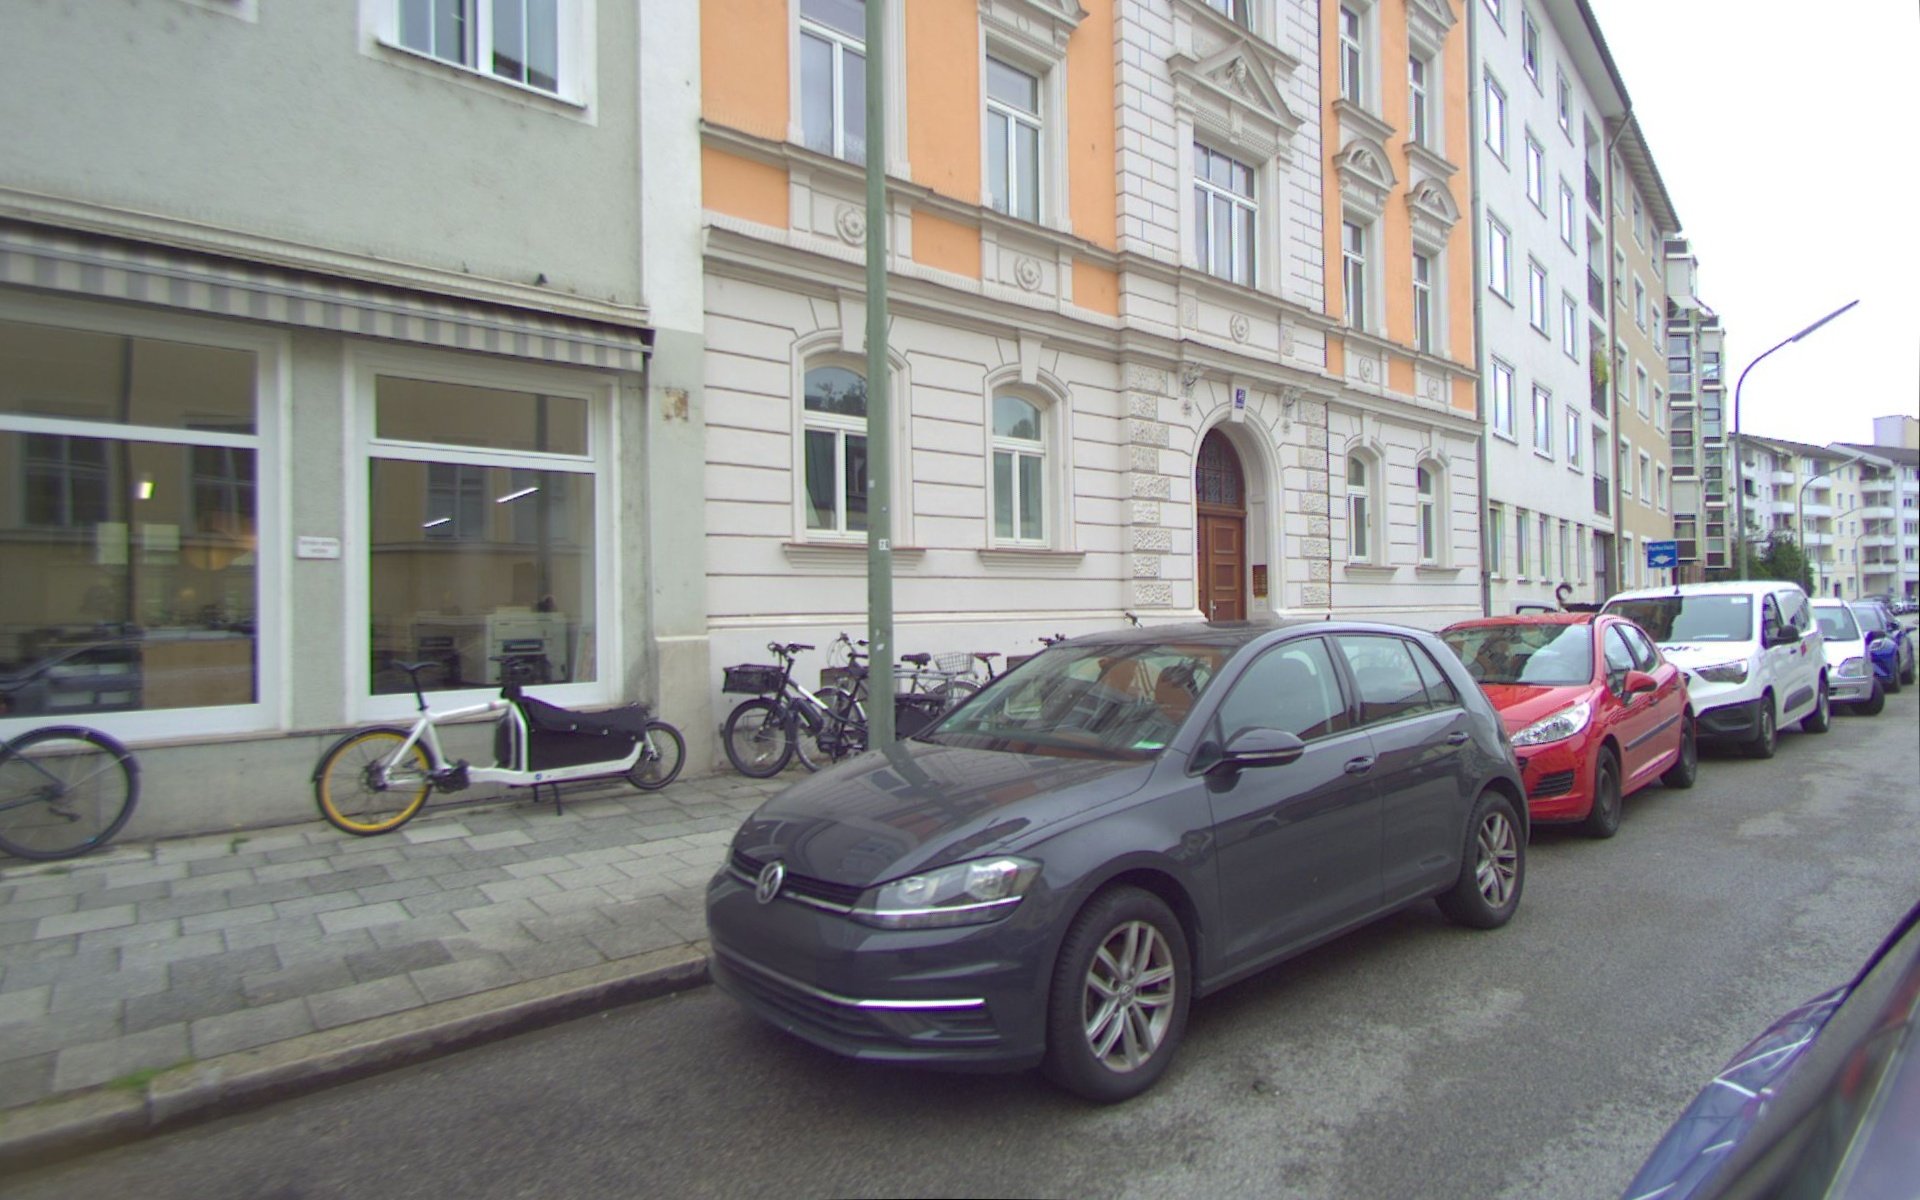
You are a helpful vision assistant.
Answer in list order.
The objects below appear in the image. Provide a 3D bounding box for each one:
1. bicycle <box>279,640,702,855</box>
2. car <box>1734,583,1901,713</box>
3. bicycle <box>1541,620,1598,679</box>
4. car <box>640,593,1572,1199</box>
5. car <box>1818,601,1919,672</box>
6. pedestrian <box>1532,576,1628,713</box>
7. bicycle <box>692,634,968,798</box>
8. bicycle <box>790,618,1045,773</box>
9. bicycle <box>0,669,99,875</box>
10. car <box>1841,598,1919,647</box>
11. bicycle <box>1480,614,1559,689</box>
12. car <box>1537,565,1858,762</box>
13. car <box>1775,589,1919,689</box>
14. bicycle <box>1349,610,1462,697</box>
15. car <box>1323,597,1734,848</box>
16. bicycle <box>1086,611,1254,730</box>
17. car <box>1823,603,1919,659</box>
[{"bbox_3d":[-2.989,0.855,6.660,2.415,1.088,0.770,0,-1,-41],"label":"bicycle"},{"bbox_3d":[12.614,0.639,14.860,1.602,1.663,3.576,-4,-3,42],"label":"car"},{"bbox_3d":[12.598,0.997,20.914,0.666,1.136,1.627,-3,-2,42],"label":"bicycle"},{"bbox_3d":[0.896,0.769,4.397,4.010,1.470,1.695,-1,-3,-39],"label":"car"},{"bbox_3d":[20.207,0.772,22.311,1.739,1.414,4.136,-4,-2,43],"label":"car"},{"bbox_3d":[7.923,0.554,12.942,0.636,1.683,0.862,0,-2,-41],"label":"pedestrian"},{"bbox_3d":[-0.988,0.881,7.910,2.058,1.198,0.608,-1,-1,4],"label":"bicycle"},{"bbox_3d":[-0.343,0.778,8.554,2.057,1.198,0.609,1,-1,3],"label":"bicycle"},{"bbox_3d":[-5.293,0.898,5.059,1.494,1.017,0.331,0,0,-40],"label":"bicycle"},{"bbox_3d":[30.442,0.693,33.434,1.890,1.481,4.421,1,1,43],"label":"car"},{"bbox_3d":[9.231,0.824,16.664,0.666,1.136,1.925,-3,-2,42],"label":"bicycle"},{"bbox_3d":[8.584,0.623,11.601,4.809,1.809,1.843,0,-3,-41],"label":"car"},{"bbox_3d":[16.404,0.674,18.422,4.129,1.608,1.742,0,-3,-42],"label":"car"},{"bbox_3d":[6.629,0.769,15.006,2.057,1.198,0.652,2,-1,-39],"label":"bicycle"},{"bbox_3d":[4.711,0.768,8.087,4.229,1.470,1.599,0,-3,-43],"label":"car"},{"bbox_3d":[2.364,0.747,11.243,2.057,1.198,0.652,2,-1,-39],"label":"bicycle"},{"bbox_3d":[25.615,0.813,28.454,1.890,1.414,4.421,-1,0,43],"label":"car"}]
